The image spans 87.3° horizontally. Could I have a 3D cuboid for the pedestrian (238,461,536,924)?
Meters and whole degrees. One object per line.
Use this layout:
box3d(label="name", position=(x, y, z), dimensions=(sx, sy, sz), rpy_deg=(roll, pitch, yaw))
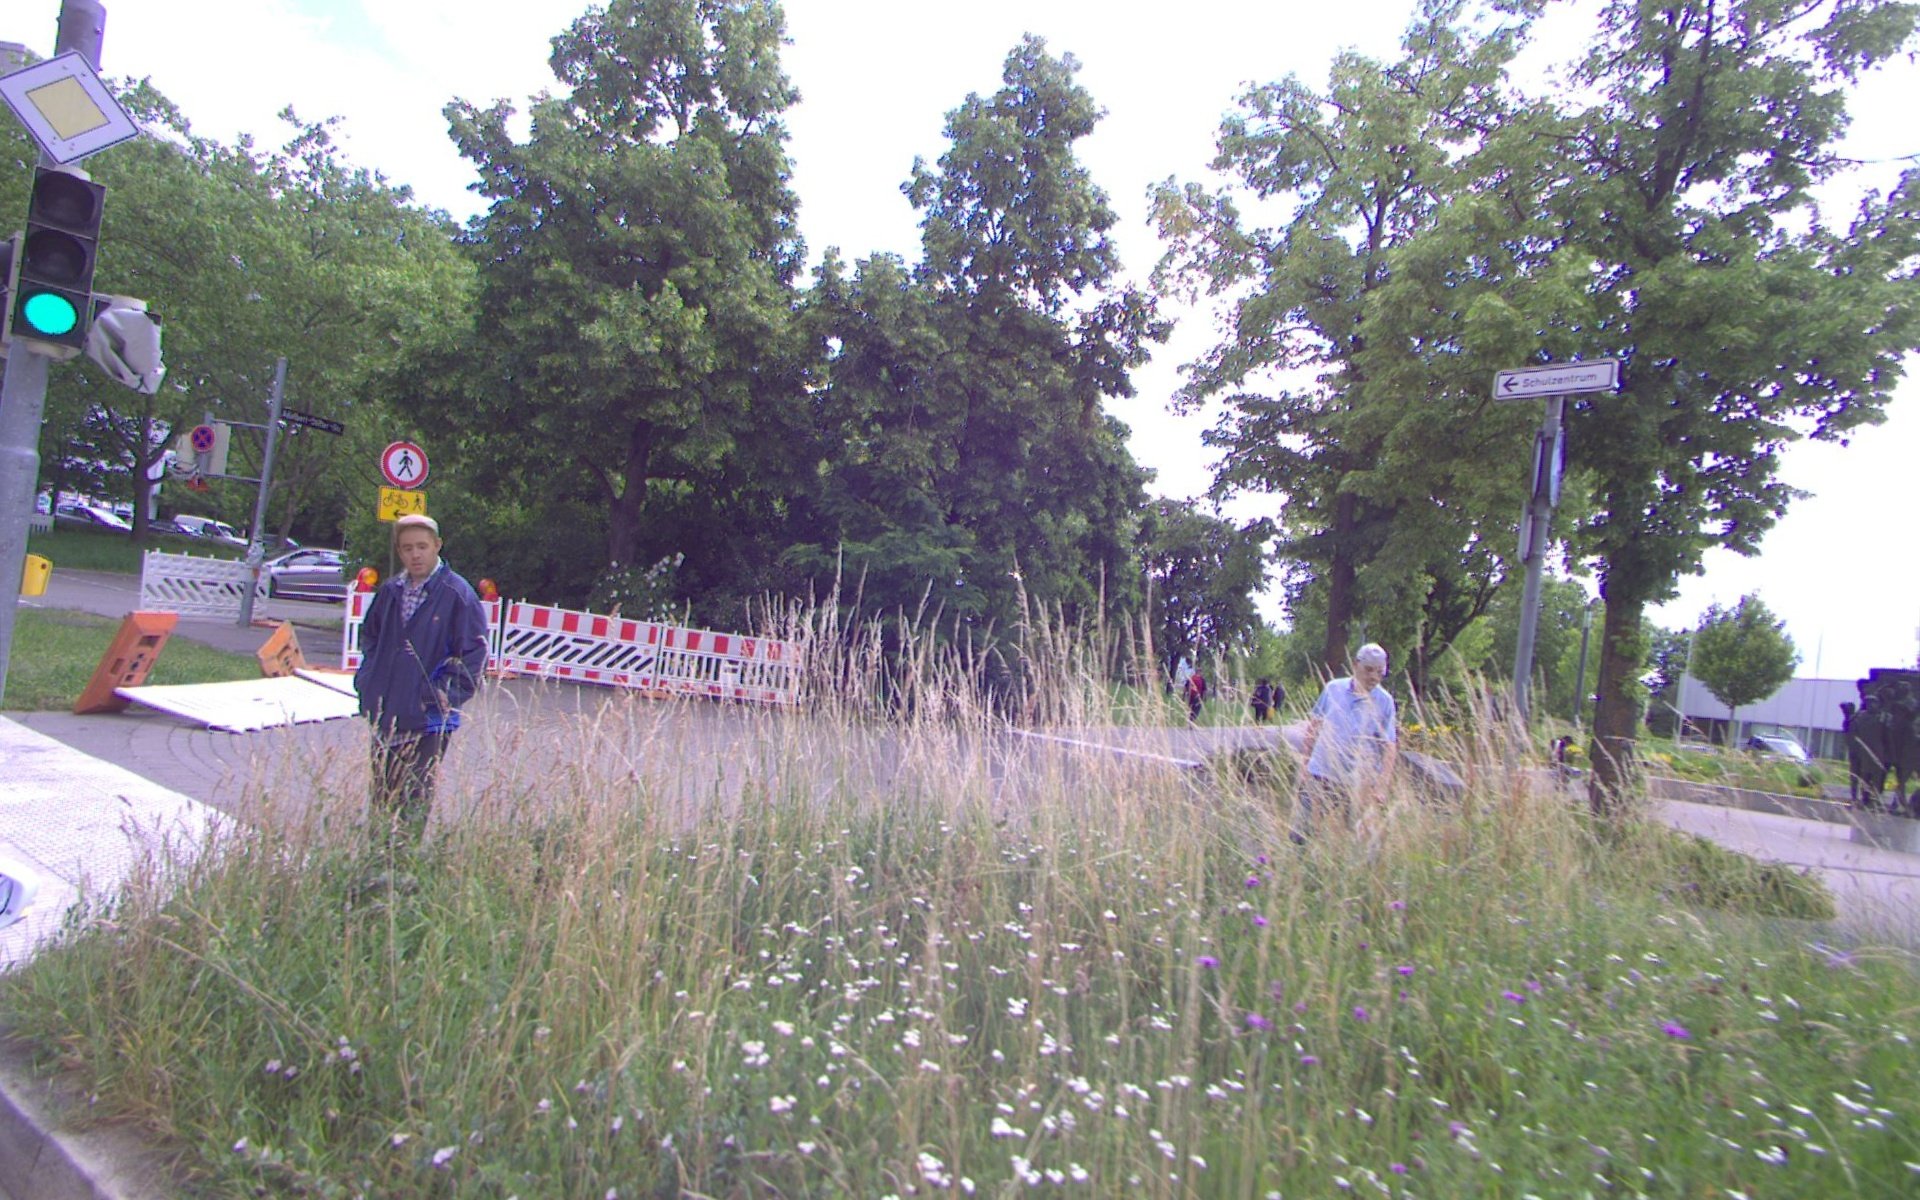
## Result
box3d(label="pedestrian", position=(-2.444, 0.385, 4.438), dimensions=(0.717, 1.760, 0.953), rpy_deg=(8, -1, -14))

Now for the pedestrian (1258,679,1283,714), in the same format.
box3d(label="pedestrian", position=(16.175, 5.017, 52.381), dimensions=(0.974, 1.671, 0.871), rpy_deg=(7, -1, 21))

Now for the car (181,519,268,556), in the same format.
box3d(label="car", position=(-42.334, -3.585, 57.925), dimensions=(3.819, 1.482, 1.486), rpy_deg=(7, -2, 1))

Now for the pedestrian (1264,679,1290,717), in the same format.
box3d(label="pedestrian", position=(15.545, 4.791, 49.274), dimensions=(0.974, 1.671, 0.871), rpy_deg=(7, -1, 21))

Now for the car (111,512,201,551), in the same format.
box3d(label="car", position=(-41.506, -3.536, 51.960), dimensions=(3.344, 1.420, 1.486), rpy_deg=(7, -2, 3))

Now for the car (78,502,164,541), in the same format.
box3d(label="car", position=(-52.138, -4.884, 62.562), dimensions=(3.751, 1.653, 1.675), rpy_deg=(9, -2, 2))

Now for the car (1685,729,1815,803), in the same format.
box3d(label="car", position=(25.011, 5.207, 32.000), dimensions=(1.606, 1.786, 3.510), rpy_deg=(7, -2, 9))

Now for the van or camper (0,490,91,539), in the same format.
box3d(label="van or camper", position=(-42.082, -3.938, 45.524), dimensions=(3.924, 1.704, 1.848), rpy_deg=(8, -1, 5))

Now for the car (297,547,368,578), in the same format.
box3d(label="car", position=(-42.854, -2.554, 68.725), dimensions=(3.673, 1.517, 1.736), rpy_deg=(7, -2, 6))

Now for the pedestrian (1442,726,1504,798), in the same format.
box3d(label="pedestrian", position=(7.320, 2.290, 14.341), dimensions=(0.685, 0.874, 0.651), rpy_deg=(7, -1, 29))

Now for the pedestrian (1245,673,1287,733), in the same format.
box3d(label="pedestrian", position=(9.321, 3.119, 30.655), dimensions=(0.974, 1.671, 0.871), rpy_deg=(7, -1, 21))

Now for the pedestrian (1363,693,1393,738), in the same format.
box3d(label="pedestrian", position=(17.324, 4.777, 41.719), dimensions=(0.974, 1.671, 0.871), rpy_deg=(7, -1, 21))

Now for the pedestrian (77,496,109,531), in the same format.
box3d(label="pedestrian", position=(-43.363, -4.319, 50.329), dimensions=(0.785, 1.604, 0.796), rpy_deg=(6, -2, 24))

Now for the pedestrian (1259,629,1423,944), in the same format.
box3d(label="pedestrian", position=(2.472, 1.147, 6.491), dimensions=(0.716, 1.812, 0.693), rpy_deg=(7, 0, 28))

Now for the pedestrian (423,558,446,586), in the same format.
box3d(label="pedestrian", position=(-41.782, -2.239, 79.959), dimensions=(0.968, 1.971, 1.085), rpy_deg=(9, -3, -3))

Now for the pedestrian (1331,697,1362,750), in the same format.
box3d(label="pedestrian", position=(11.806, 3.758, 30.734), dimensions=(0.624, 1.519, 0.704), rpy_deg=(7, -1, 30))

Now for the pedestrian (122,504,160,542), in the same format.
box3d(label="pedestrian", position=(-46.488, -4.378, 57.105), dimensions=(1.039, 1.892, 1.077), rpy_deg=(7, -2, 11))

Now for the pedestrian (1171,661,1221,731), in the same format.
box3d(label="pedestrian", position=(6.169, 2.493, 26.246), dimensions=(0.974, 1.671, 0.871), rpy_deg=(7, -1, 21))

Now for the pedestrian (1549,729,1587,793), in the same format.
box3d(label="pedestrian", position=(13.105, 3.459, 21.697), dimensions=(0.560, 1.277, 0.582), rpy_deg=(6, -2, 30))

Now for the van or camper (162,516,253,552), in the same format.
box3d(label="van or camper", position=(-41.485, -3.640, 55.536), dimensions=(3.706, 1.372, 1.519), rpy_deg=(7, -2, -1))

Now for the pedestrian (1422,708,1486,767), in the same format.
box3d(label="pedestrian", position=(9.512, 2.645, 19.389), dimensions=(0.703, 0.959, 0.747), rpy_deg=(8, -1, -20))

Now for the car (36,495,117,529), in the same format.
box3d(label="car", position=(-52.140, -5.167, 59.431), dimensions=(3.345, 1.420, 1.486), rpy_deg=(7, -2, 1))

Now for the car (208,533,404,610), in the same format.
box3d(label="car", position=(-19.185, -0.784, 29.710), dimensions=(1.744, 1.604, 4.405), rpy_deg=(6, -3, 33))

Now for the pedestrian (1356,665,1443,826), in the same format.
box3d(label="pedestrian", position=(5.097, 1.662, 11.658), dimensions=(0.685, 1.715, 0.651), rpy_deg=(7, 0, 29))
